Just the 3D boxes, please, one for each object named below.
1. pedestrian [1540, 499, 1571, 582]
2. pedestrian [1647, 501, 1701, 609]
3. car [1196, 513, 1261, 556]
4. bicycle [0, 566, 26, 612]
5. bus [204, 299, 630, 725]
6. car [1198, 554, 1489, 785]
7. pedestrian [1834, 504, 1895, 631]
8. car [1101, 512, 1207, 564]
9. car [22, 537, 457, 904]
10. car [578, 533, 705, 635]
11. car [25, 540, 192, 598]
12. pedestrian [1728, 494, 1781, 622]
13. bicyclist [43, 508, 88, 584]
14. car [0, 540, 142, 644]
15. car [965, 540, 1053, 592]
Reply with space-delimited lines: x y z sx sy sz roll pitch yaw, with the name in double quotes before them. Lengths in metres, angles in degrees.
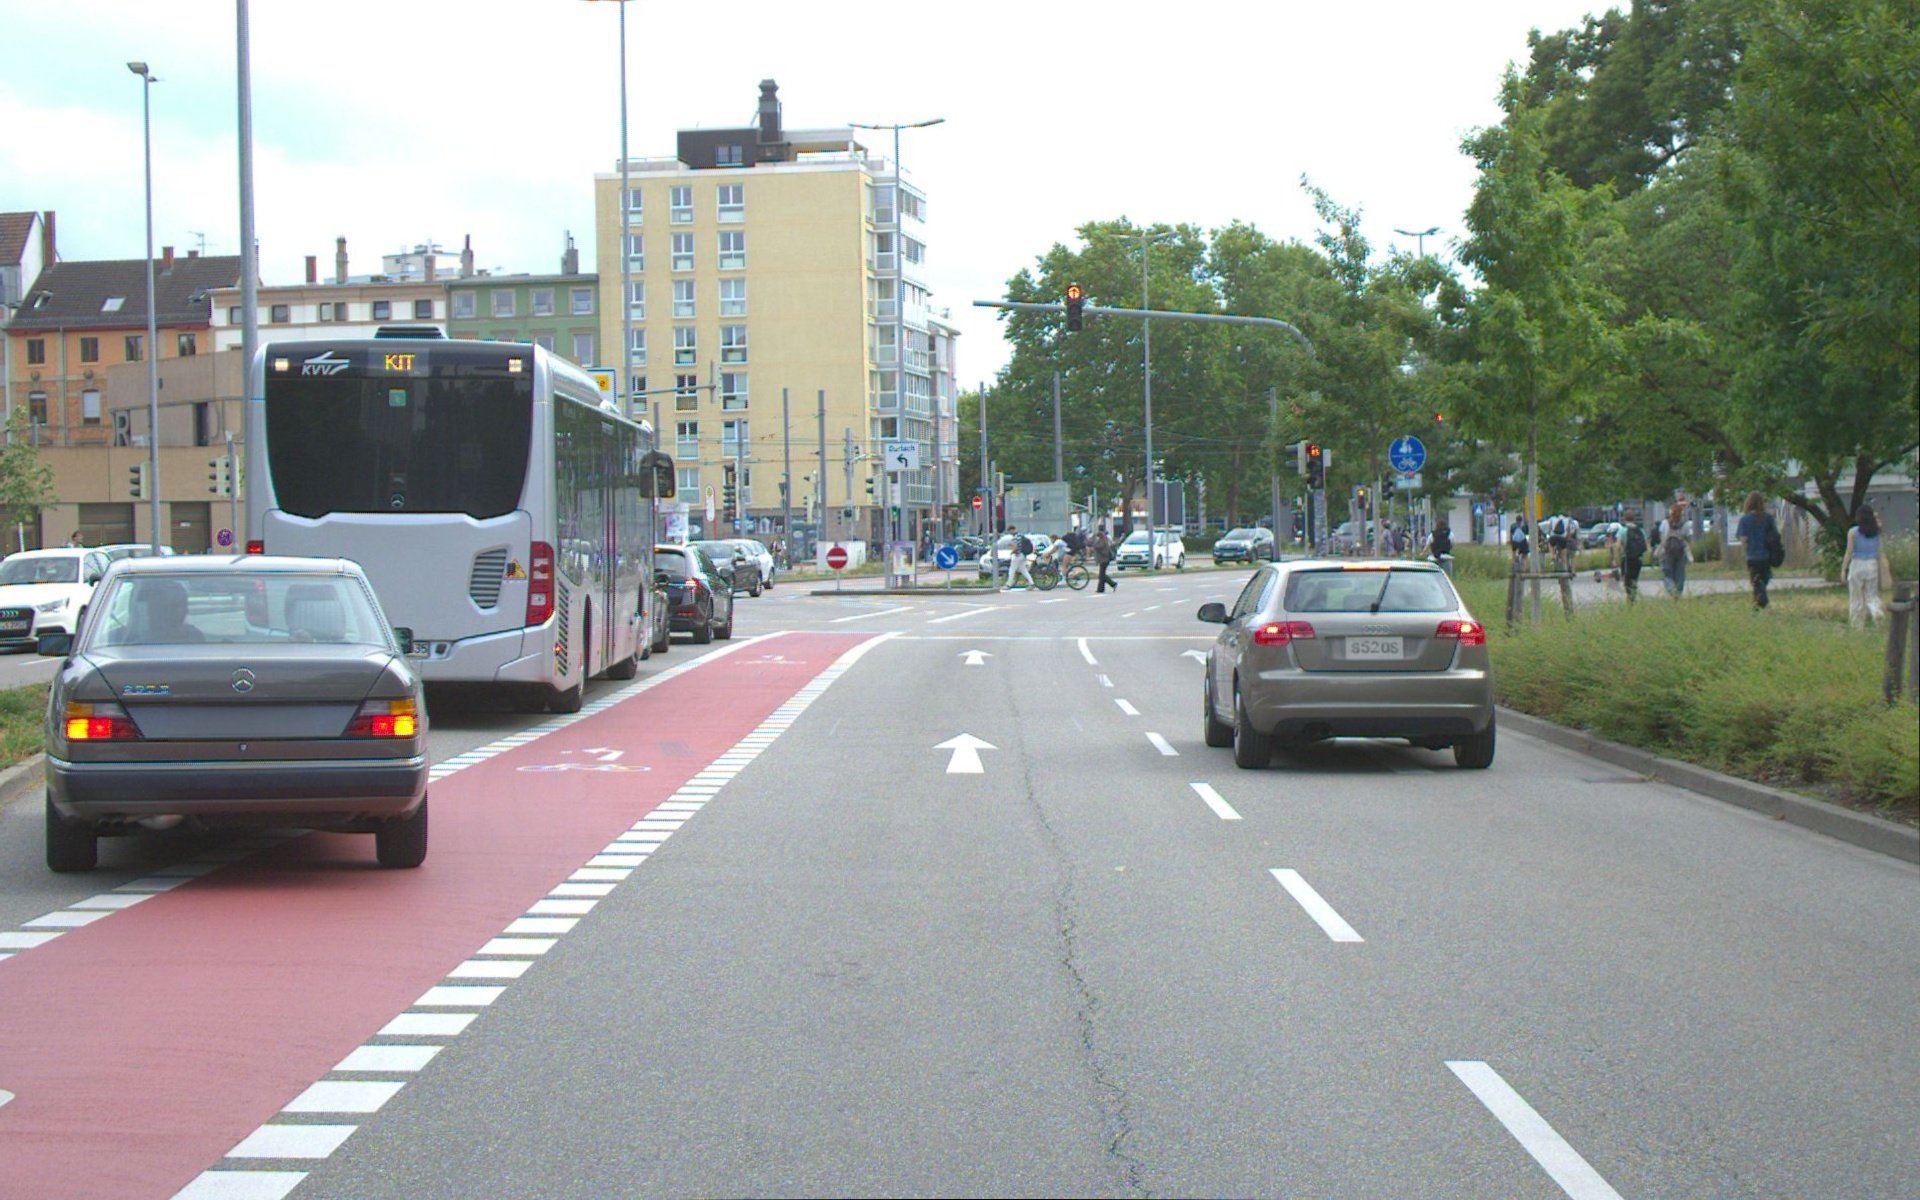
"pedestrian" 14.506 -1.456 83.732 0.614 2.007 0.597 -1 1 -1
"pedestrian" 11.464 -0.724 55.208 0.802 1.707 0.764 -1 1 13
"car" 12.136 -2.957 154.968 1.808 1.844 3.996 -1 1 21
"bicycle" -21.484 -0.222 75.106 1.964 0.978 0.631 -1 1 -1
"bus" -4.751 -0.811 31.714 2.831 3.378 8.184 -1 1 -2
"car" 2.651 0.432 24.482 1.724 1.452 3.736 -1 1 1
"pedestrian" 10.642 -0.384 40.444 0.657 1.465 0.561 -1 1 17
"car" 8.201 -2.639 144.764 2.586 2.102 5.594 0 1 24
"car" -3.551 0.459 16.467 1.761 1.484 4.172 -1 1 -15
"car" -4.643 -0.263 50.575 1.655 1.391 3.861 -1 1 -3
"car" -20.758 -0.763 83.831 3.672 1.389 1.585 0 1 -27
"pedestrian" 10.691 -0.569 46.243 0.647 1.707 0.561 -1 1 15
"bicyclist" -19.483 -1.186 74.881 0.786 1.637 0.614 -1 1 -2
"car" -13.137 -0.135 49.558 1.670 1.384 3.922 -2 1 1
"car" 1.702 -1.192 118.103 1.995 1.697 3.997 -1 1 17
